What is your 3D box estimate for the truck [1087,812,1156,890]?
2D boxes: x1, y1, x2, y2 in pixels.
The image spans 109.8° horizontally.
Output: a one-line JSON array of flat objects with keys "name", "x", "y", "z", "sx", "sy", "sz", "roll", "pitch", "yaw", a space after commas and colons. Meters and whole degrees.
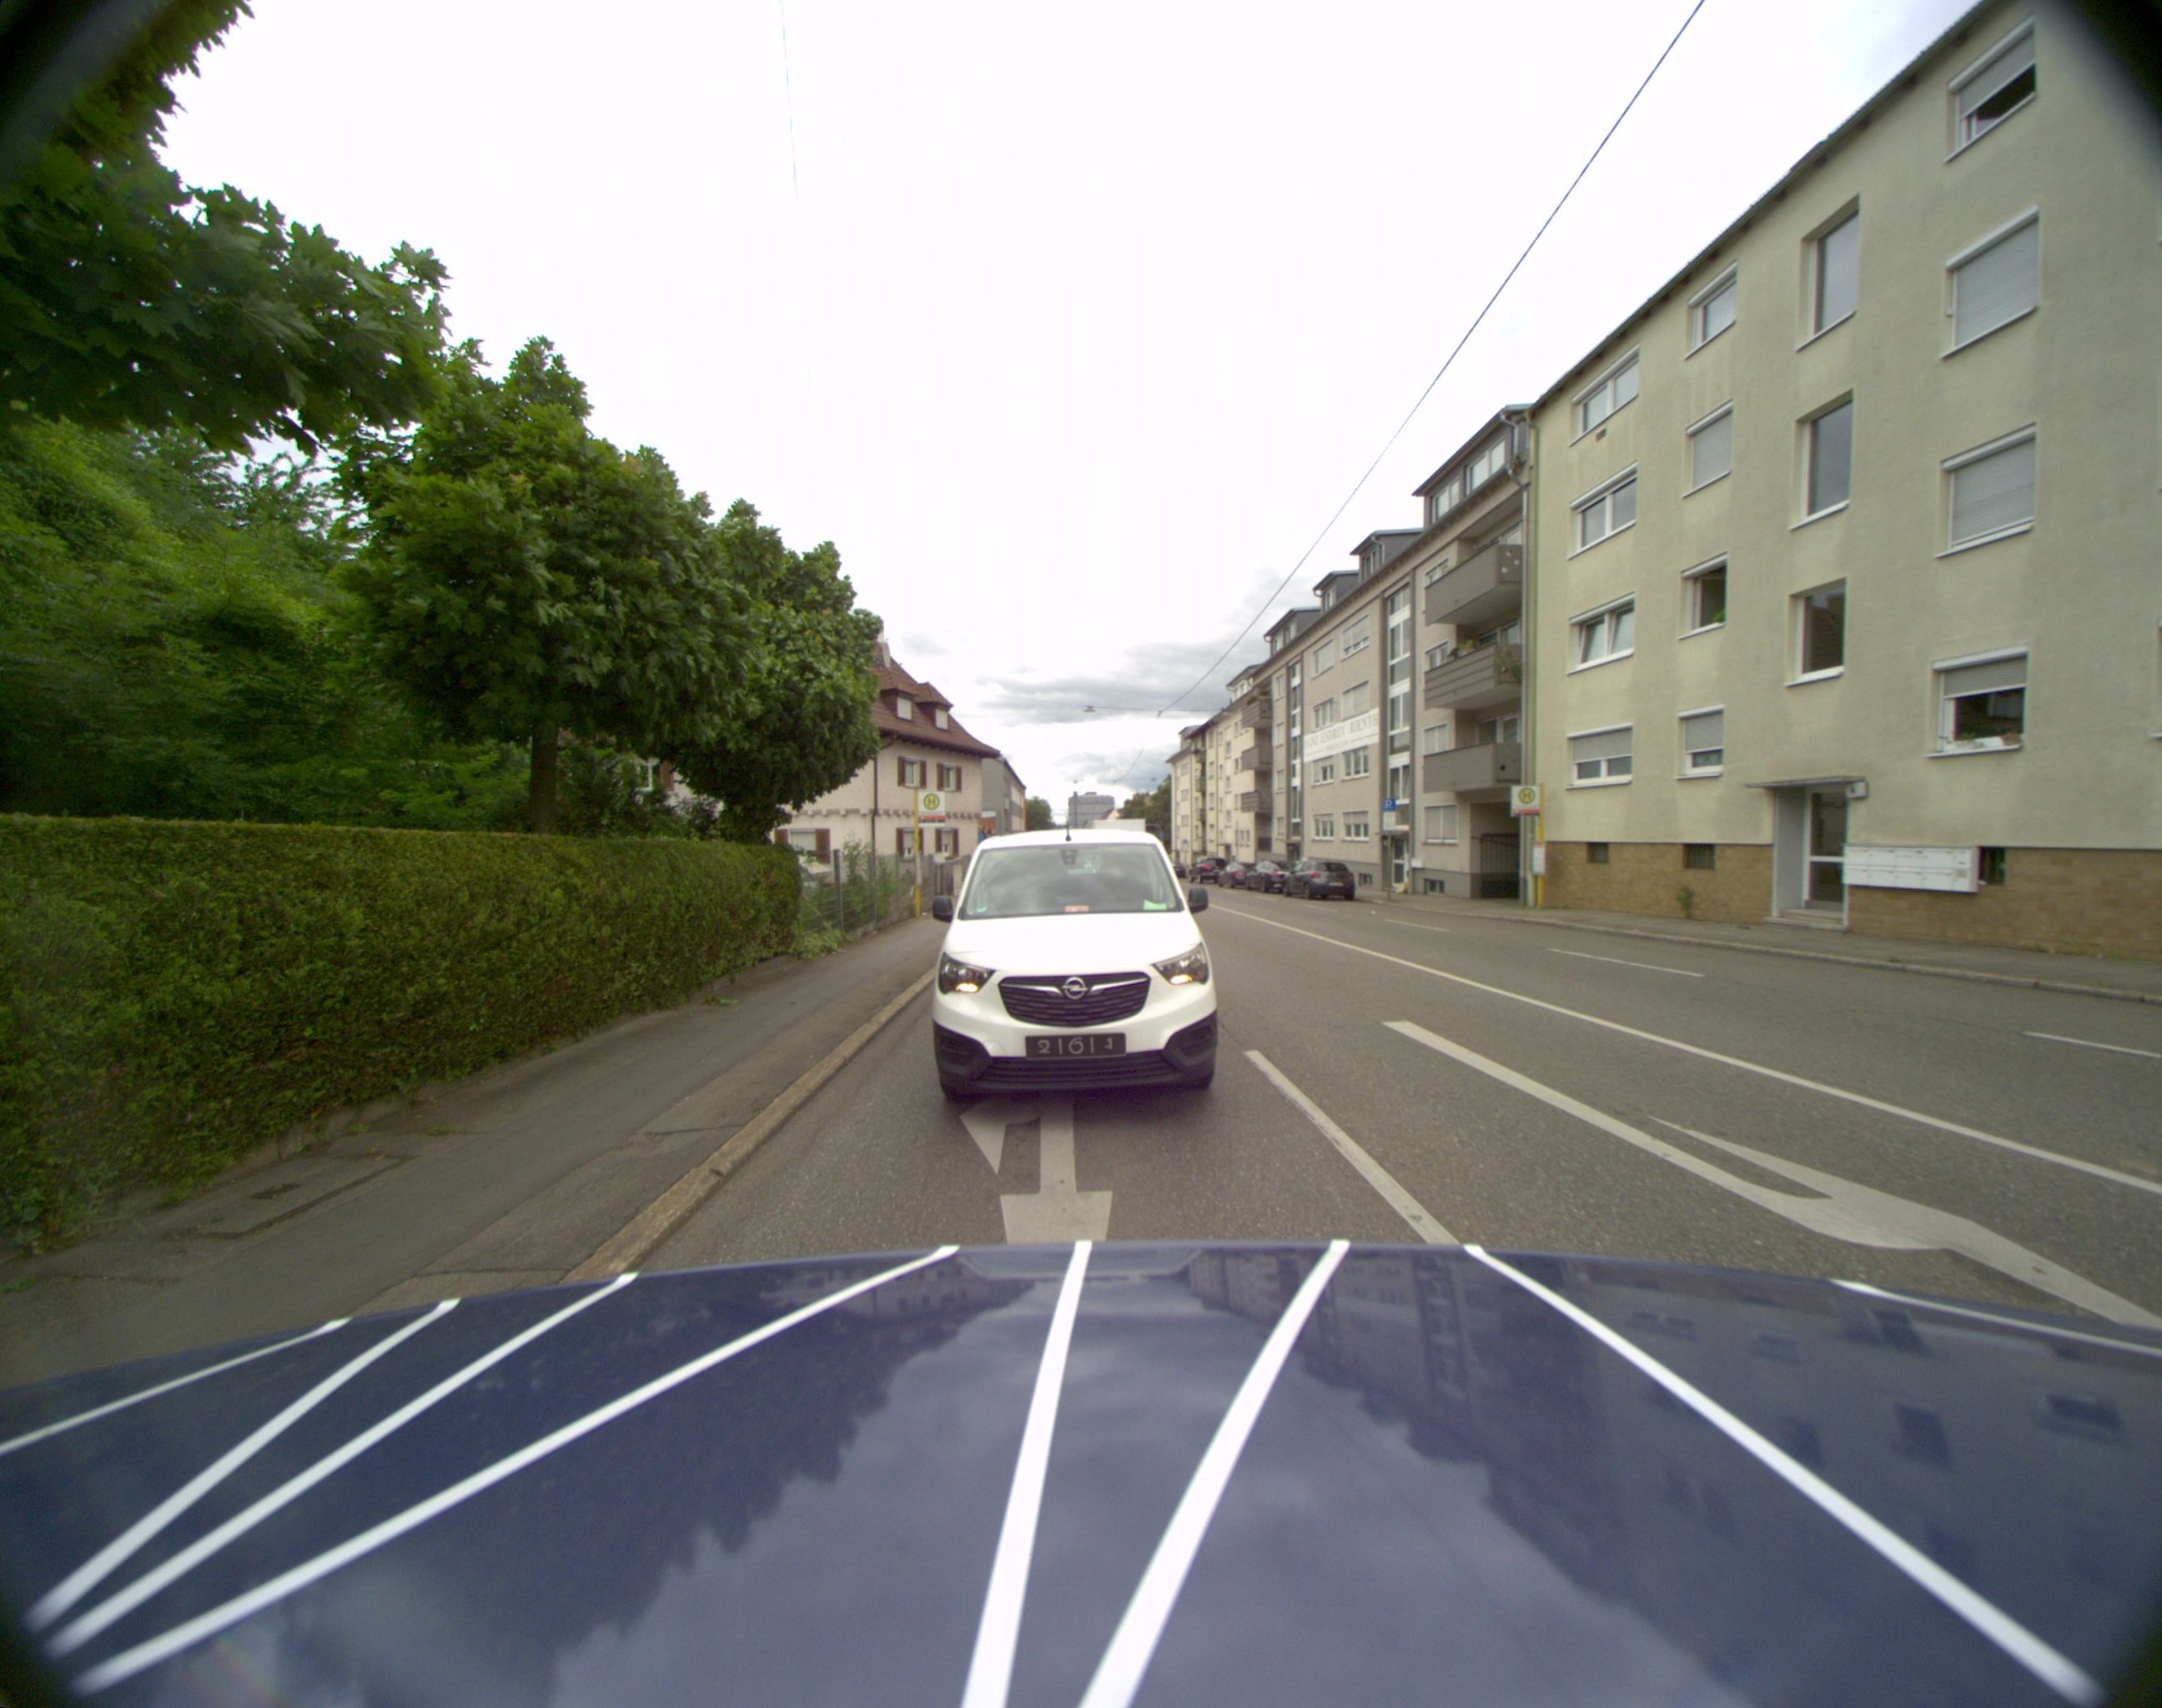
[{"name": "truck", "x": 1.923, "y": -0.109, "z": 39.372, "sx": 2.776, "sy": 3.554, "sz": 8.062, "roll": -2, "pitch": 0, "yaw": -2}]

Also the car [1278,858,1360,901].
[{"name": "car", "x": 8.908, "y": 0.927, "z": 28.776, "sx": 1.773, "sy": 1.428, "sz": 3.800, "roll": 1, "pitch": 0, "yaw": -2}]

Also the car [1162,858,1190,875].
[{"name": "car", "x": 8.219, "y": 1.068, "z": 65.905, "sx": 1.875, "sy": 1.372, "sz": 4.307, "roll": 1, "pitch": 0, "yaw": 0}]

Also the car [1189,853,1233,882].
[{"name": "car", "x": 8.347, "y": 0.813, "z": 49.159, "sx": 1.875, "sy": 1.743, "sz": 4.306, "roll": 1, "pitch": 0, "yaw": -2}]

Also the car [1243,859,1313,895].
[{"name": "car", "x": 8.735, "y": 0.980, "z": 34.121, "sx": 1.773, "sy": 1.397, "sz": 4.717, "roll": 1, "pitch": 0, "yaw": -2}]

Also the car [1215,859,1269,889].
[{"name": "car", "x": 8.426, "y": 1.017, "z": 40.031, "sx": 1.773, "sy": 1.397, "sz": 4.306, "roll": 1, "pitch": 0, "yaw": -2}]

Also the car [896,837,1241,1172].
[{"name": "car", "x": -0.122, "y": 0.802, "z": 6.143, "sx": 1.803, "sy": 1.735, "sz": 3.999, "roll": -3, "pitch": 1, "yaw": -2}]

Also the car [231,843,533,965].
[{"name": "car", "x": -13.258, "y": 0.812, "z": 14.614, "sx": 1.994, "sy": 2.002, "sz": 4.008, "roll": -1, "pitch": 0, "yaw": 40}]
